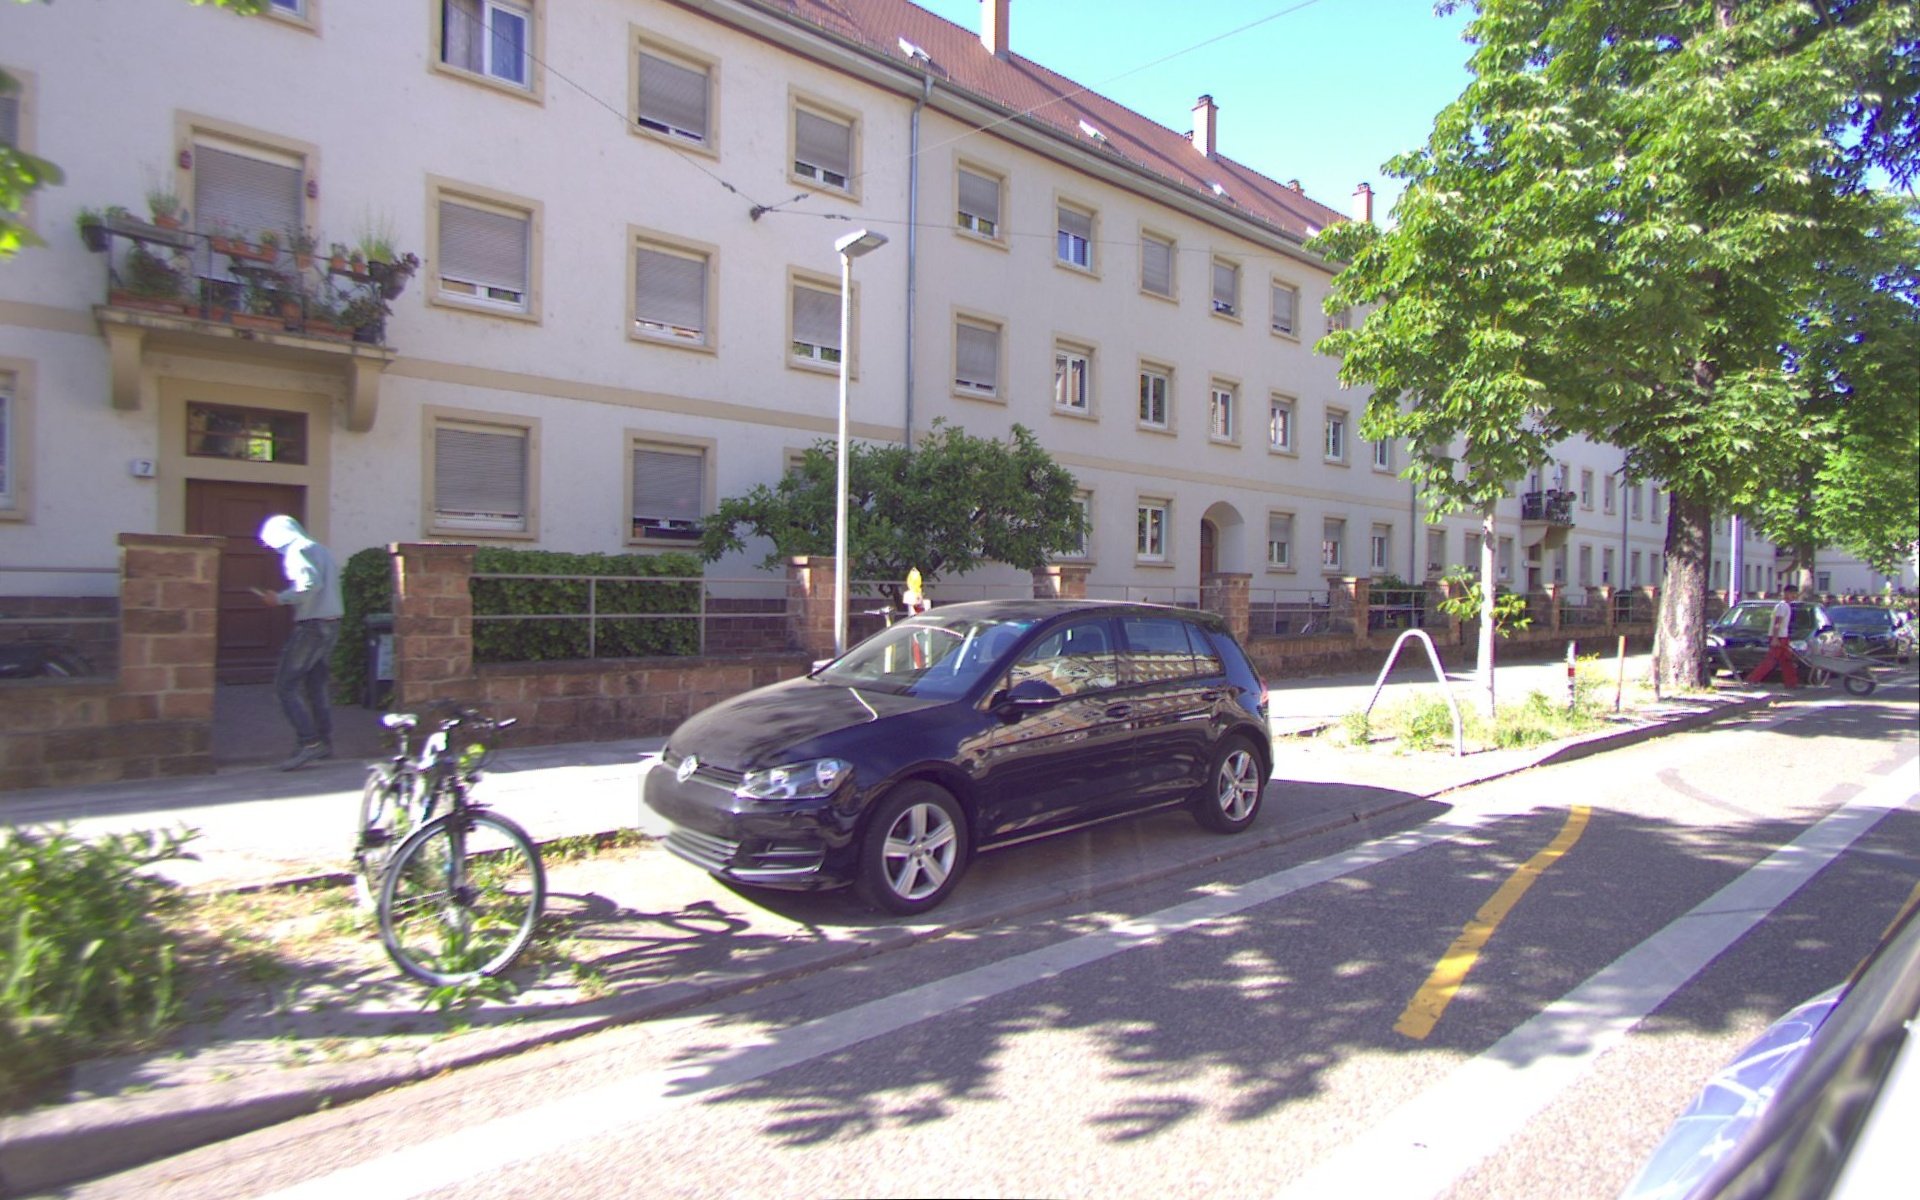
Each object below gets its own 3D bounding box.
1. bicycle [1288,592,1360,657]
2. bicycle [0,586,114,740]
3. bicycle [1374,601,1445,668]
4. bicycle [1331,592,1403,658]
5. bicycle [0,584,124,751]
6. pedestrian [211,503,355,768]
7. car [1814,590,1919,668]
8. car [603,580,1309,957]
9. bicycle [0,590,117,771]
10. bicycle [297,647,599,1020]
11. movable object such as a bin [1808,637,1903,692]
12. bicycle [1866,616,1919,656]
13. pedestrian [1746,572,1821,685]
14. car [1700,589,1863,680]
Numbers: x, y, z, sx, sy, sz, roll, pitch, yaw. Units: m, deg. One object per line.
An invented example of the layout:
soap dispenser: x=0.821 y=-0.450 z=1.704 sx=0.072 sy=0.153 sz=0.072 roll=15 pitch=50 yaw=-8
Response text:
bicycle: x=7.197 y=0.465 z=19.980 sx=1.711 sy=1.235 sz=0.544 roll=0 pitch=1 yaw=-40
bicycle: x=-7.640 y=0.476 z=7.655 sx=1.883 sy=1.167 sz=0.545 roll=0 pitch=-1 yaw=-40
bicycle: x=8.746 y=0.651 z=19.652 sx=1.711 sy=1.235 sz=0.544 roll=0 pitch=1 yaw=-40
bicycle: x=7.959 y=0.470 z=19.754 sx=1.711 sy=1.235 sz=0.544 roll=0 pitch=1 yaw=-40
bicycle: x=-6.953 y=0.472 z=7.191 sx=1.546 sy=1.167 sz=0.441 roll=0 pitch=-1 yaw=-40
pedestrian: x=-4.716 y=0.235 z=7.094 sx=0.568 sy=1.746 sz=0.766 roll=0 pitch=-1 yaw=-11
car: x=22.871 y=0.677 z=25.320 sx=4.157 sy=1.783 sz=1.668 roll=0 pitch=1 yaw=-41
car: x=0.183 y=0.665 z=6.014 sx=3.973 sy=1.482 sz=1.791 roll=0 pitch=1 yaw=-40
bicycle: x=-6.626 y=0.518 z=6.468 sx=1.883 sy=1.167 sz=0.449 roll=0 pitch=0 yaw=-40
bicycle: x=-2.205 y=0.820 z=4.230 sx=0.610 sy=1.080 sz=1.794 roll=0 pitch=2 yaw=-44
movable object such as a bin: x=14.483 y=1.033 z=16.388 sx=0.912 sy=0.752 sz=0.663 roll=4 pitch=3 yaw=20
bicycle: x=26.169 y=0.993 z=27.869 sx=0.425 sy=1.091 sz=1.765 roll=1 pitch=-1 yaw=-38
pedestrian: x=13.726 y=0.446 z=16.891 sx=0.593 sy=1.792 sz=0.907 roll=3 pitch=2 yaw=20
car: x=15.699 y=0.591 z=19.257 sx=4.172 sy=1.492 sz=1.723 roll=0 pitch=2 yaw=-42
